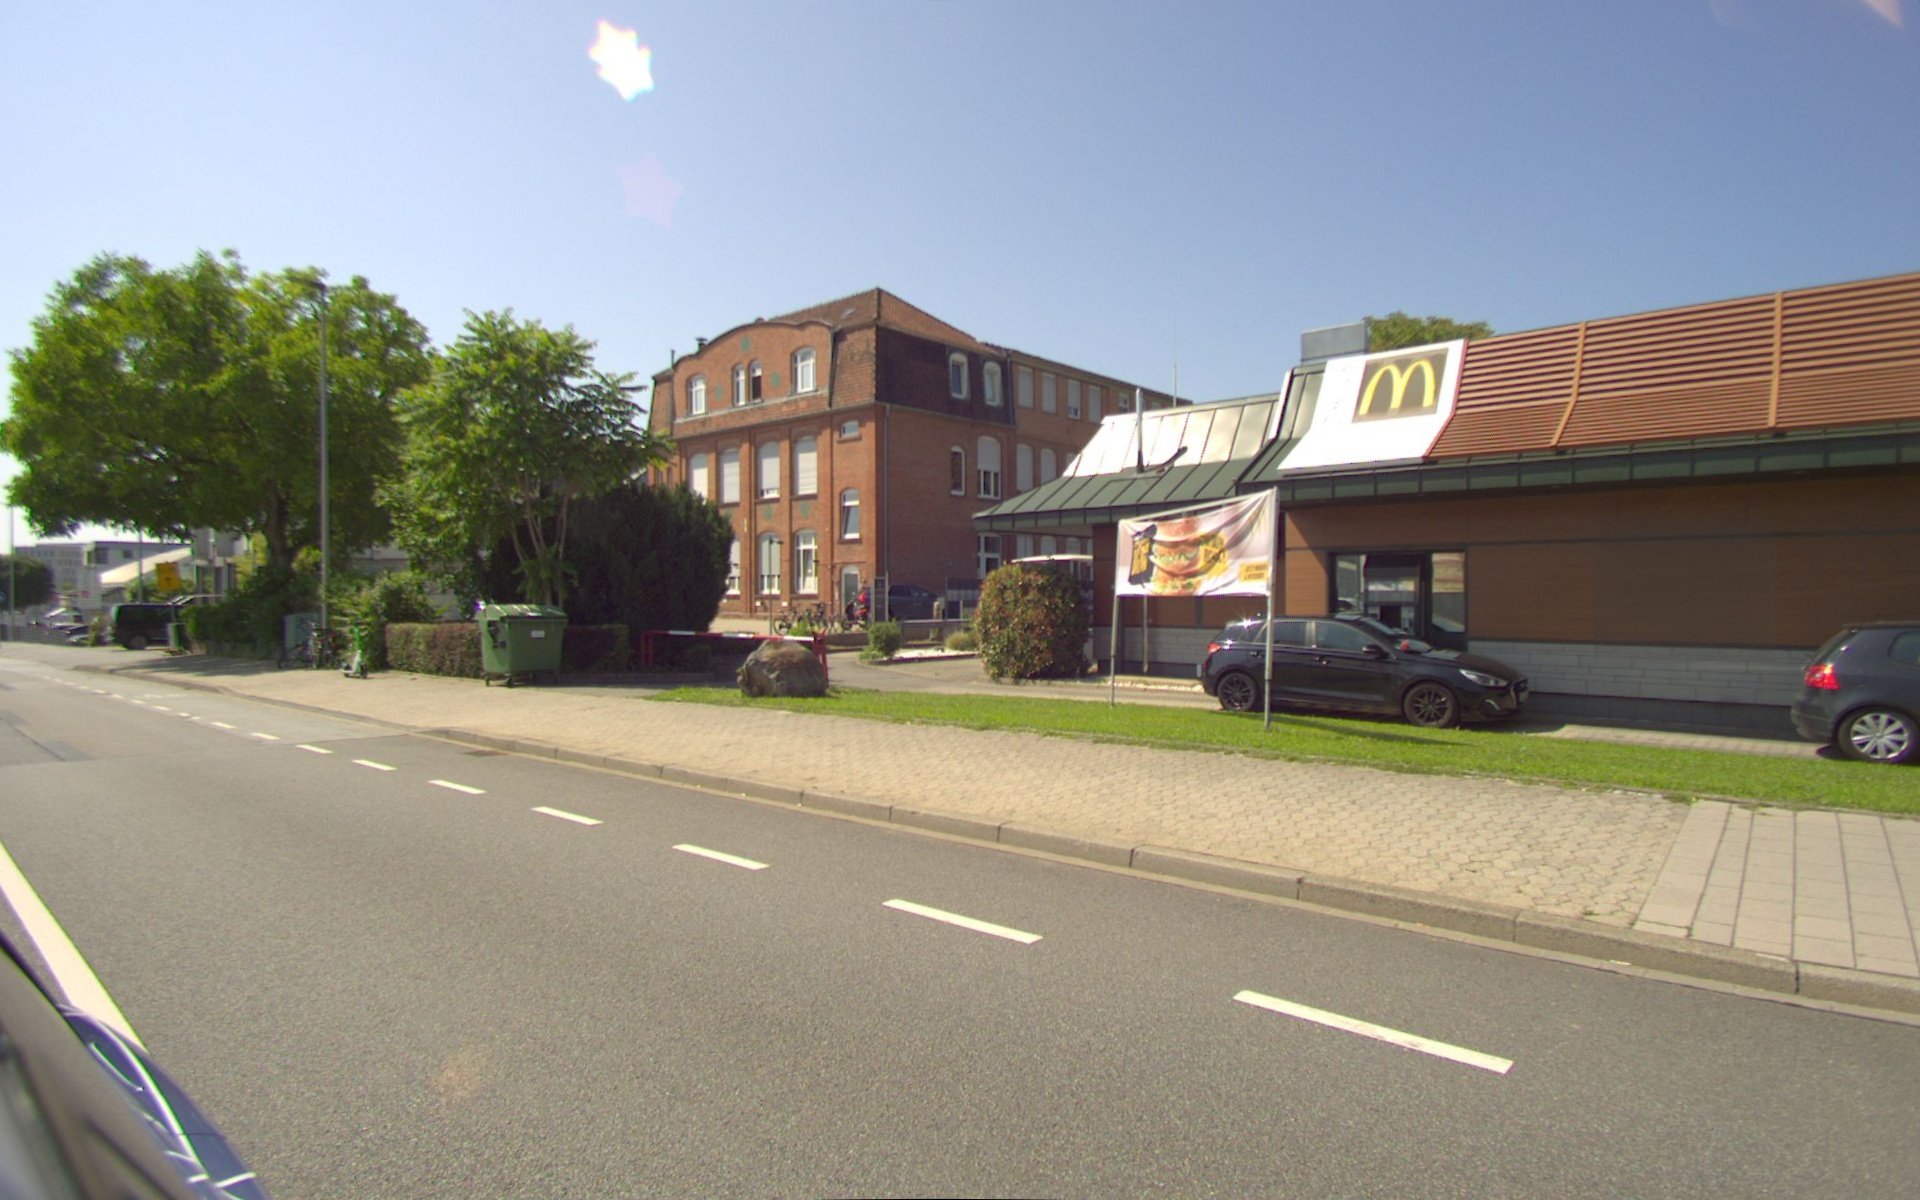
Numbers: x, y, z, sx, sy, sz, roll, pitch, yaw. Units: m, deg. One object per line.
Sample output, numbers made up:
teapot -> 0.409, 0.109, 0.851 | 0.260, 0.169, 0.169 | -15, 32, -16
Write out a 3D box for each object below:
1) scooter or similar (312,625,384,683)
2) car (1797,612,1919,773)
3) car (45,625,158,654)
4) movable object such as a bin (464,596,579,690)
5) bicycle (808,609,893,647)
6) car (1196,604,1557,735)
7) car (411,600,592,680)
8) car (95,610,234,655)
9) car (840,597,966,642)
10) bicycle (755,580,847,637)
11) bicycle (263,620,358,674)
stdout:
scooter or similar -> -12.853, 1.114, 21.248 | 1.619, 1.136, 0.641 | -2, 2, 36
car -> 10.696, 0.878, 9.582 | 4.130, 1.427, 1.972 | -1, 2, 44
car -> -49.185, 2.238, 58.080 | 2.046, 1.492, 4.691 | -2, -1, 40
movable object such as a bin -> -7.910, 0.751, 18.300 | 1.303, 1.602, 1.436 | -2, -1, 33
bicycle -> -3.902, 0.977, 35.689 | 3.440, 1.296, 0.872 | -1, -1, 41
car -> 5.719, 0.875, 14.196 | 4.317, 1.487, 1.809 | -1, 2, 40
car -> -11.571, 1.043, 25.672 | 3.721, 1.855, 1.787 | 5, -4, -44
car -> -34.631, 1.392, 44.144 | 2.092, 1.880, 4.517 | -2, -2, 42
car -> -2.209, 0.733, 38.579 | 4.403, 1.645, 2.162 | 0, -1, -16
bicycle -> -5.397, 0.290, 34.148 | 3.759, 1.837, 0.878 | -1, -1, 41
bicycle -> -15.284, 1.081, 23.787 | 2.763, 1.126, 1.017 | -1, 3, 39
